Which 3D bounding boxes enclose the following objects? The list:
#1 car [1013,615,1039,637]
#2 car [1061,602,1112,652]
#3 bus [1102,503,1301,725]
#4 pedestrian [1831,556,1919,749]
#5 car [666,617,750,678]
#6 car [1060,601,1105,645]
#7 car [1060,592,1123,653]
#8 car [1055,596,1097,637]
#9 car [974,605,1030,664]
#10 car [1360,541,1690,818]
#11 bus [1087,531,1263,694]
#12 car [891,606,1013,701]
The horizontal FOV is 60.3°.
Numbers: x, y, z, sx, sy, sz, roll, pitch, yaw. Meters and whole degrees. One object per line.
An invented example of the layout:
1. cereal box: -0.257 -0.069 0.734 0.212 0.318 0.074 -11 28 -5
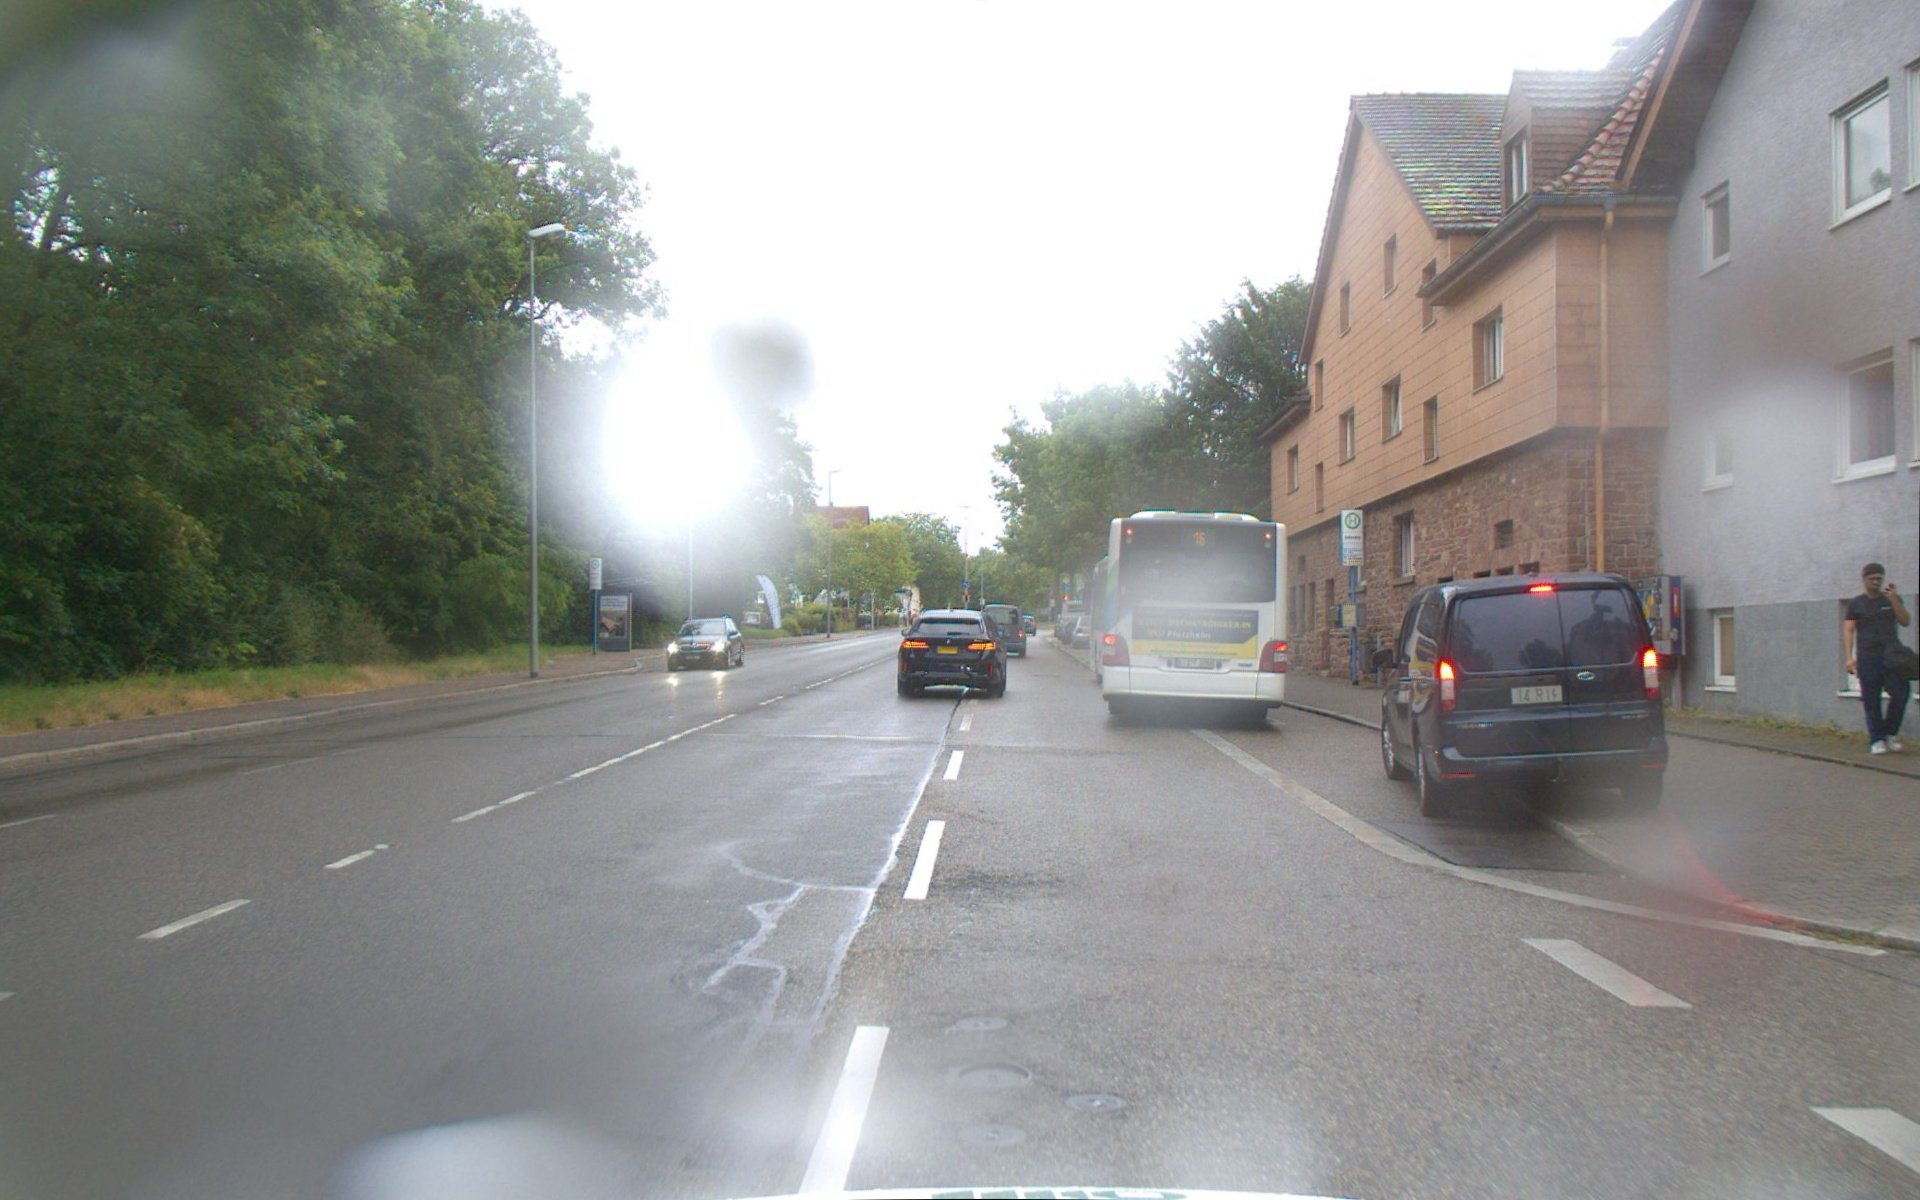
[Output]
1. car: 4.940 1.950 124.856 1.827 1.545 4.000 0 1 0
2. car: 5.520 1.146 72.535 1.953 2.049 4.000 0 1 0
3. bus: 3.680 0.165 26.010 2.567 2.897 8.295 -1 0 7
4. pedestrian: 8.815 0.489 15.733 0.676 1.785 0.669 -1 0 0
5. car: -7.185 1.327 47.446 1.733 1.560 4.000 -1 0 0
6. car: 6.075 1.134 82.541 1.953 2.049 4.000 0 1 0
7. car: 4.721 0.780 59.786 1.953 2.049 4.000 0 1 0
8. car: 6.076 0.862 87.030 1.953 2.049 4.000 0 1 0
9. car: 1.542 1.222 60.909 1.952 2.049 4.001 1 0 2
10. car: 4.662 0.619 14.391 1.886 1.925 4.765 -3 -1 10
11. bus: 4.262 0.189 34.857 2.569 2.897 9.796 -1 0 1
12. car: -0.077 0.920 30.246 1.952 1.478 4.002 3 0 3
